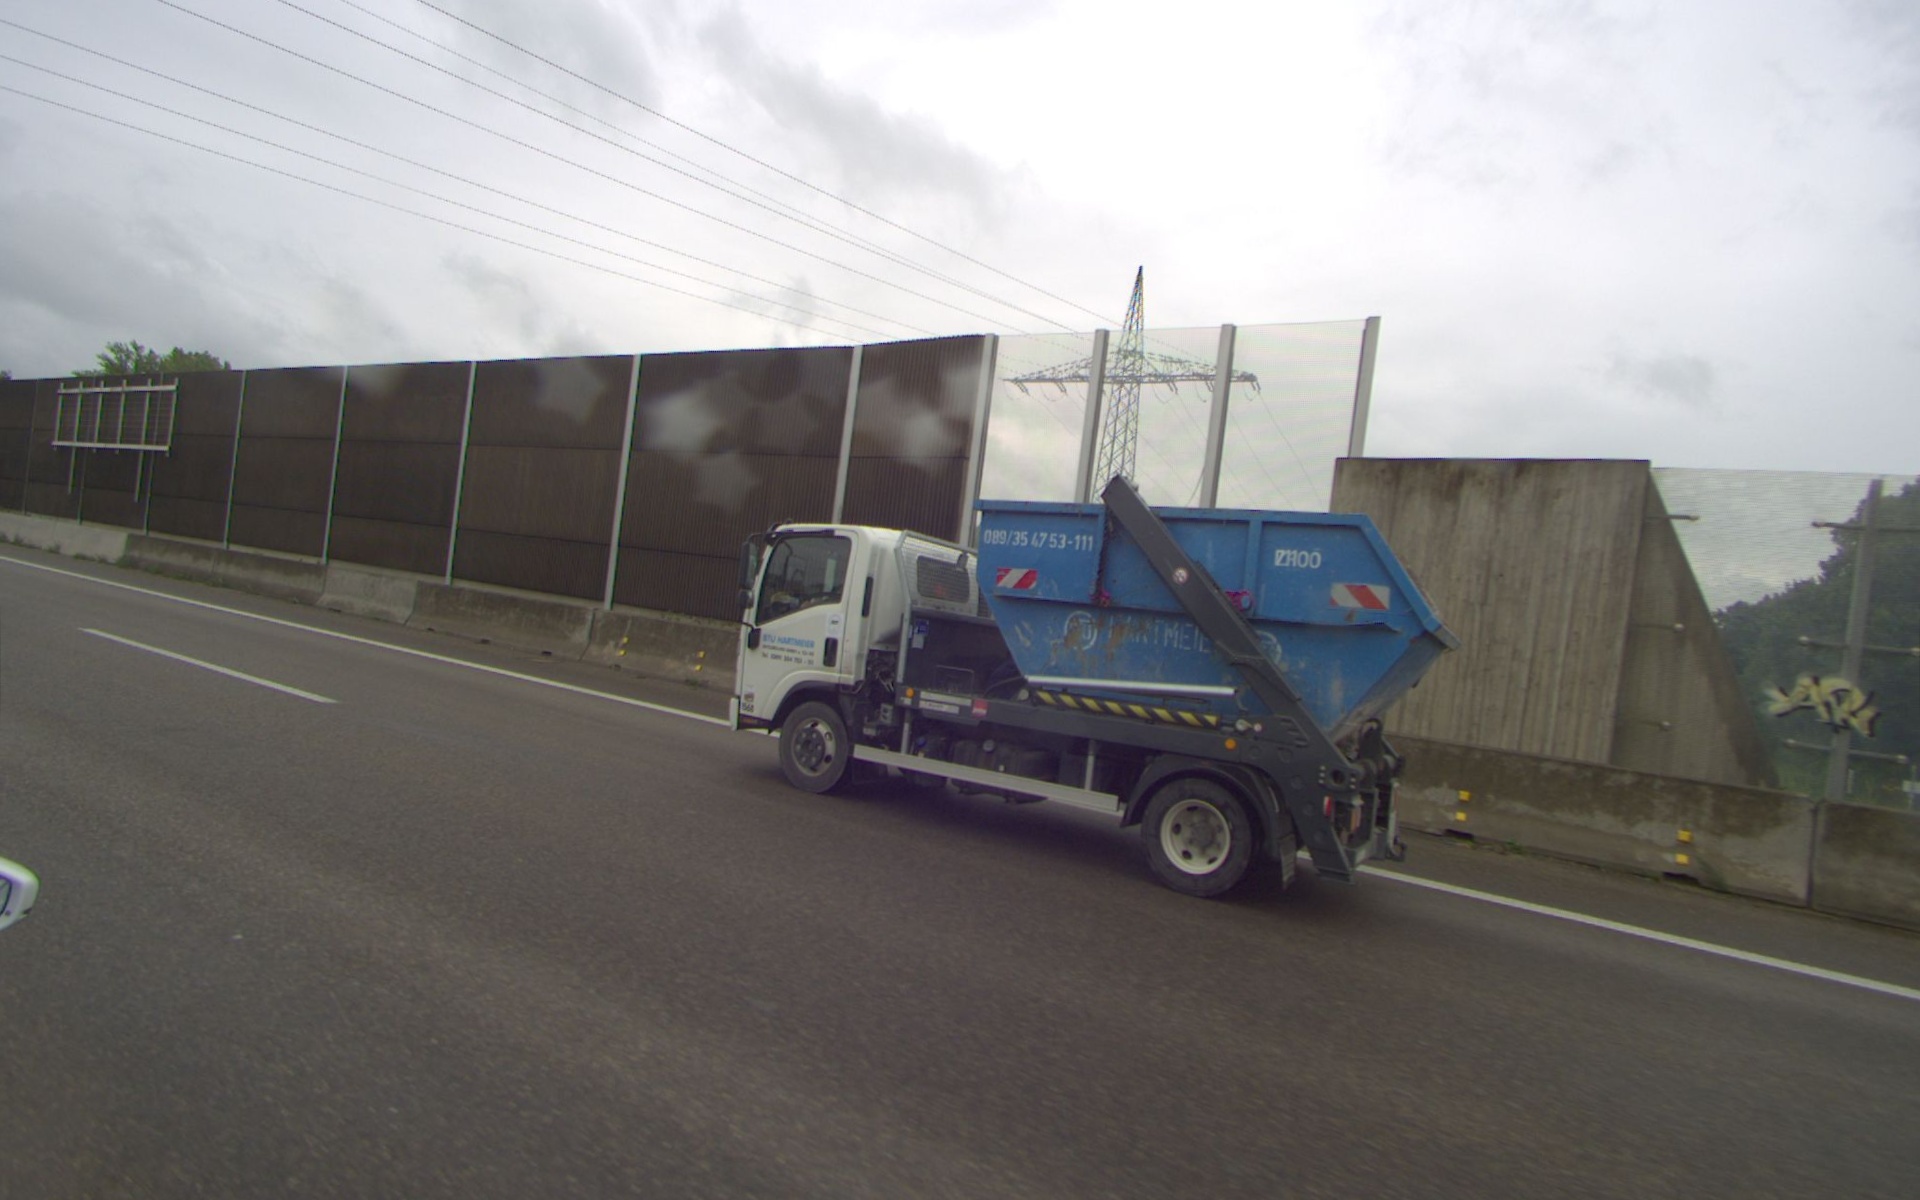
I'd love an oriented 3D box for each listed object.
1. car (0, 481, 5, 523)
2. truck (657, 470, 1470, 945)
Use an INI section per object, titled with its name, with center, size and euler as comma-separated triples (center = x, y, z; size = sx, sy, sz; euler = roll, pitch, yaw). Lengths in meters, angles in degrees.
[car]
center = -14.182, -0.982, 12.810
size = 3.934, 1.667, 1.960
euler = 9, 0, 33
[truck]
center = 0.587, 0.519, 8.332
size = 6.044, 2.535, 2.365
euler = 7, -2, 34
